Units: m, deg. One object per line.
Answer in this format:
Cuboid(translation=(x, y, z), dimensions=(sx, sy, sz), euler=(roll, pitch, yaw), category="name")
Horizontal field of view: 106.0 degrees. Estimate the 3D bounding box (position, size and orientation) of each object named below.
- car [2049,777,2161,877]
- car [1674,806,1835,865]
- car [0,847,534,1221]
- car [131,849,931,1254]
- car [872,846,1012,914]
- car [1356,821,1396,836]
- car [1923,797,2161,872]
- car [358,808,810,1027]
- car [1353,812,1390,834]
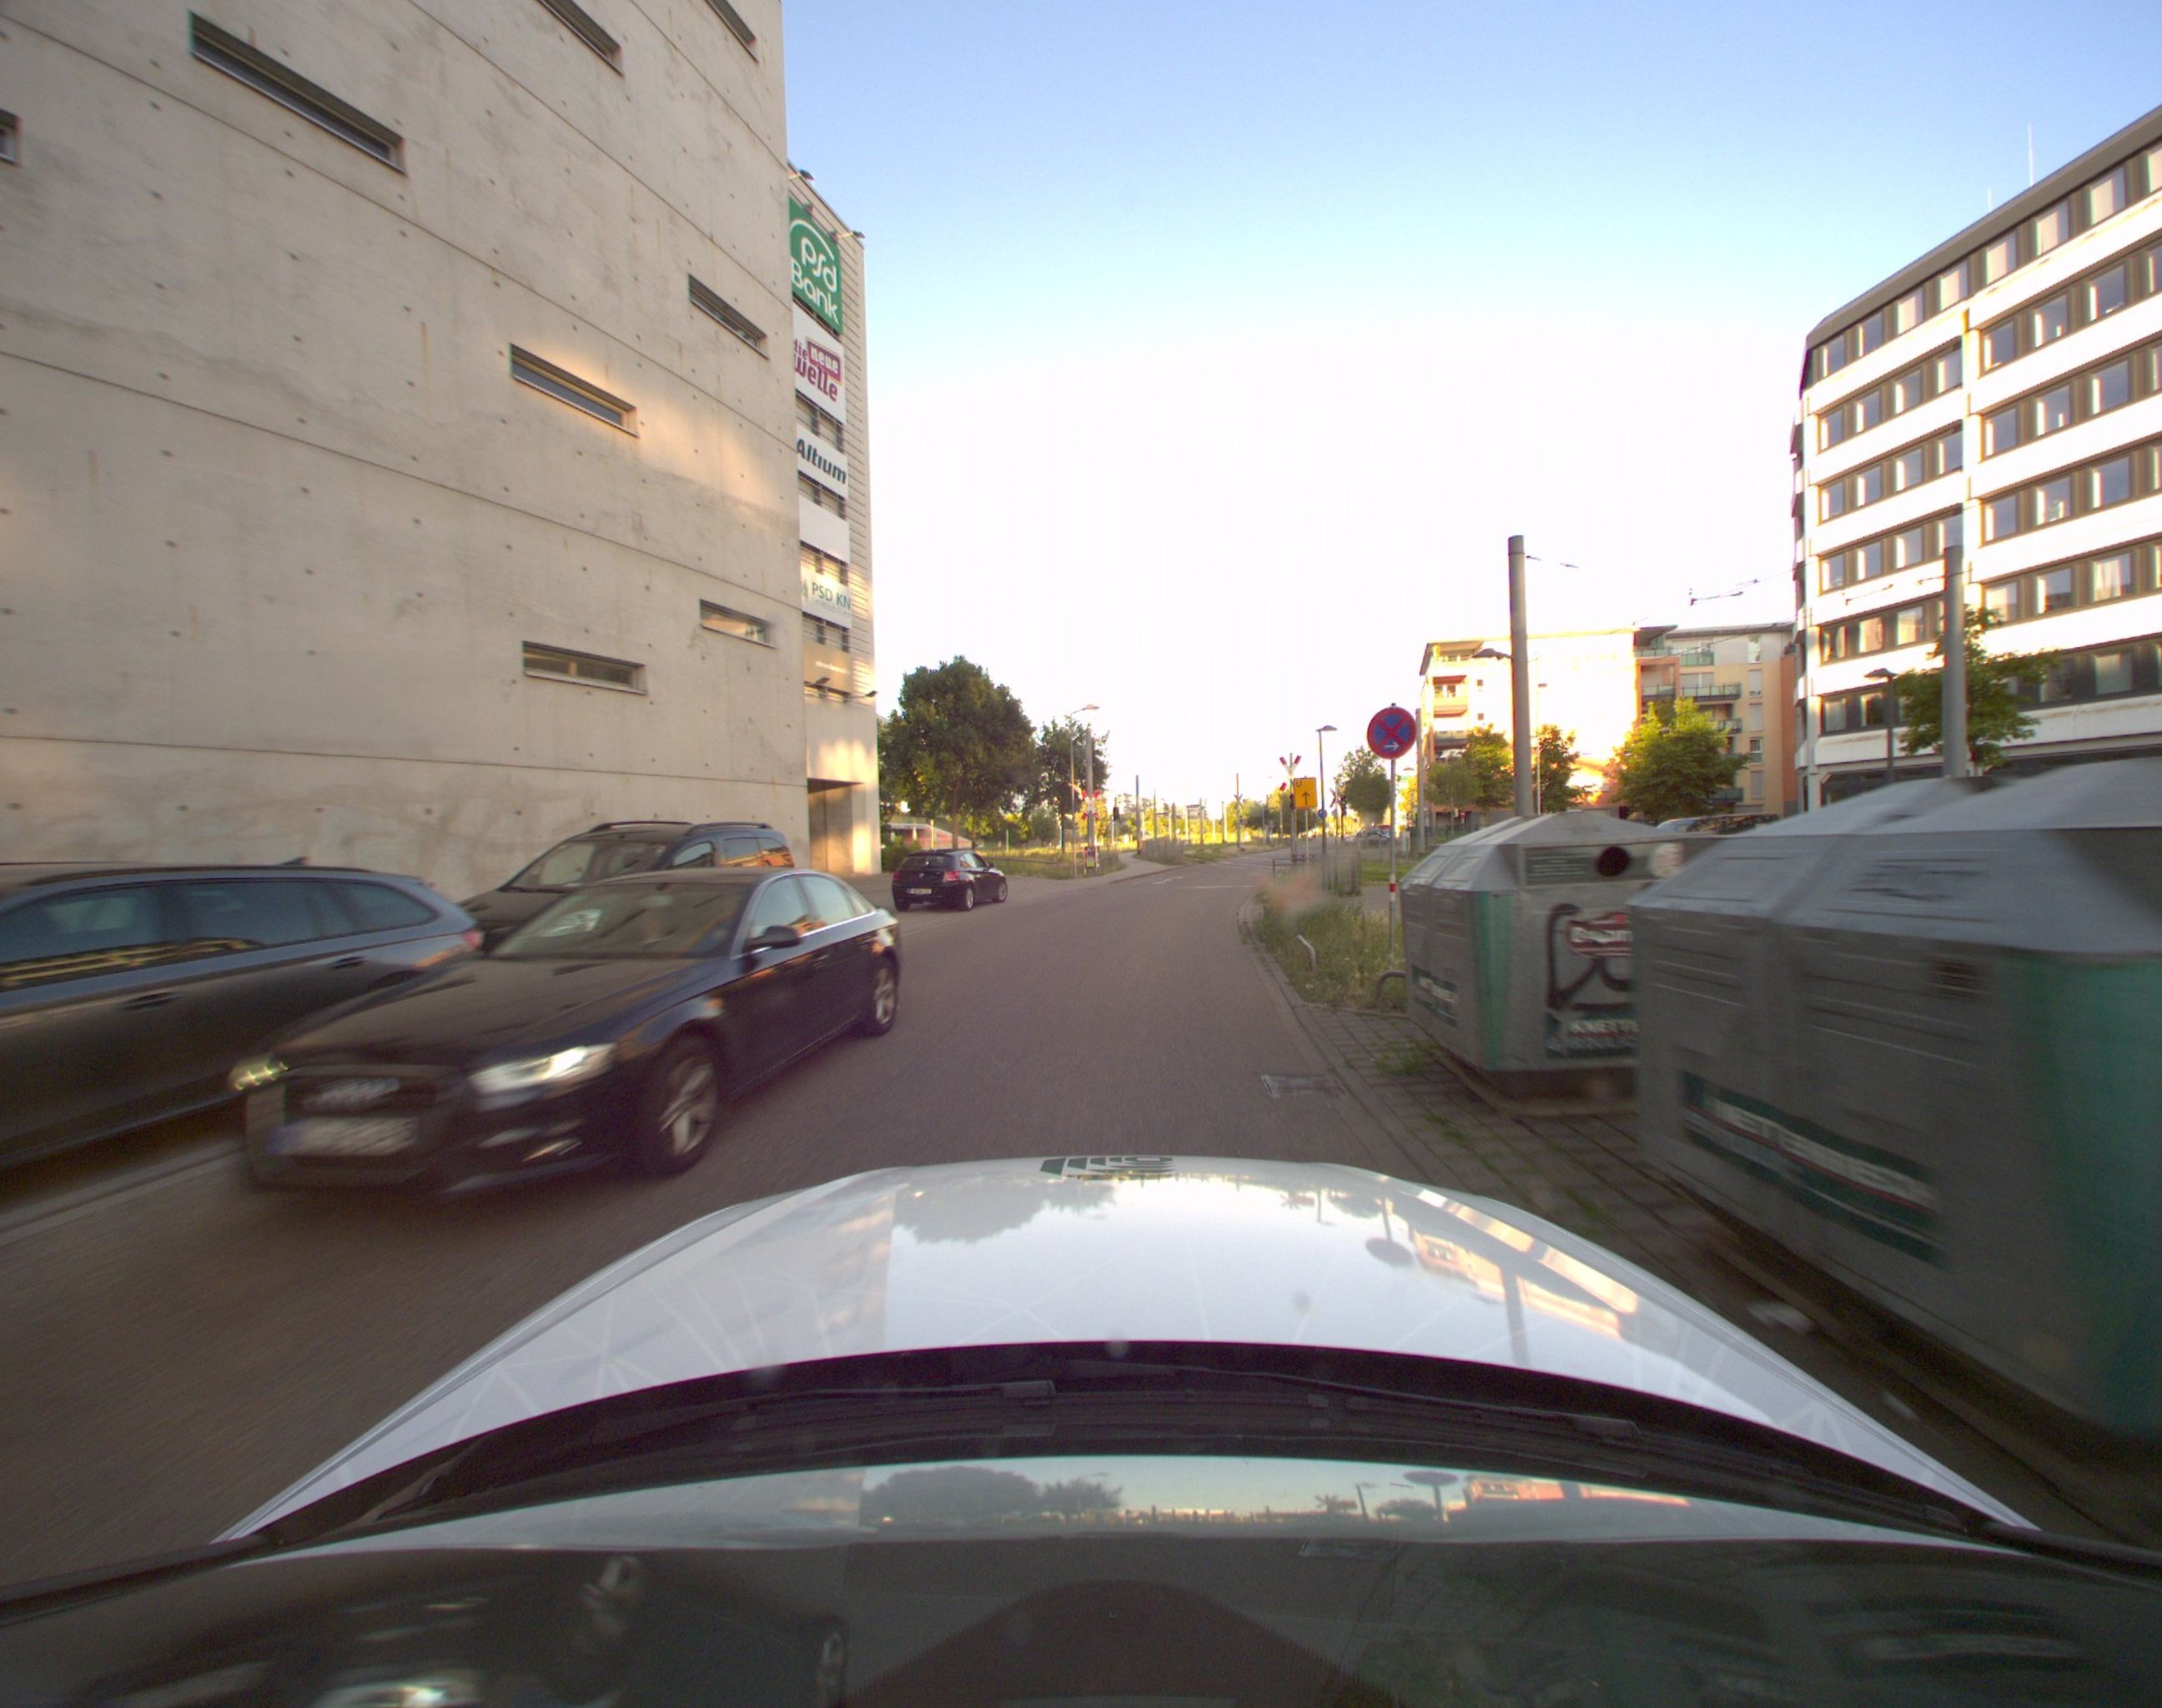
Cuboid(translation=(23.010, -0.599, 16.652), dimensions=(4.488, 1.936, 1.928), euler=(-2, 1, -5), category="car")
Cuboid(translation=(24.397, -0.683, 29.594), dimensions=(4.490, 1.936, 1.928), euler=(-2, 1, -6), category="car")
Cuboid(translation=(-5.225, 0.747, 3.960), dimensions=(1.715, 1.457, 4.699), euler=(1, 2, 4), category="car")
Cuboid(translation=(-2.539, 0.729, 5.335), dimensions=(1.769, 1.422, 4.525), euler=(-1, 1, 7), category="car")
Cuboid(translation=(-3.200, 0.530, 19.783), dimensions=(1.932, 1.382, 4.413), euler=(1, 2, 11), category="car")
Cuboid(translation=(32.943, -2.815, 91.012), dimensions=(4.119, 1.576, 1.712), euler=(-1, 1, 19), category="car")
Cuboid(translation=(23.054, -0.470, 19.445), dimensions=(4.489, 1.602, 1.691), euler=(-2, 1, -6), category="car")
Cuboid(translation=(-4.934, 0.458, 9.040), dimensions=(1.746, 1.798, 4.476), euler=(1, 2, 10), category="car")
Cuboid(translation=(36.278, -3.884, 101.808), dimensions=(4.122, 2.584, 1.710), euler=(-1, 1, 16), category="car")
